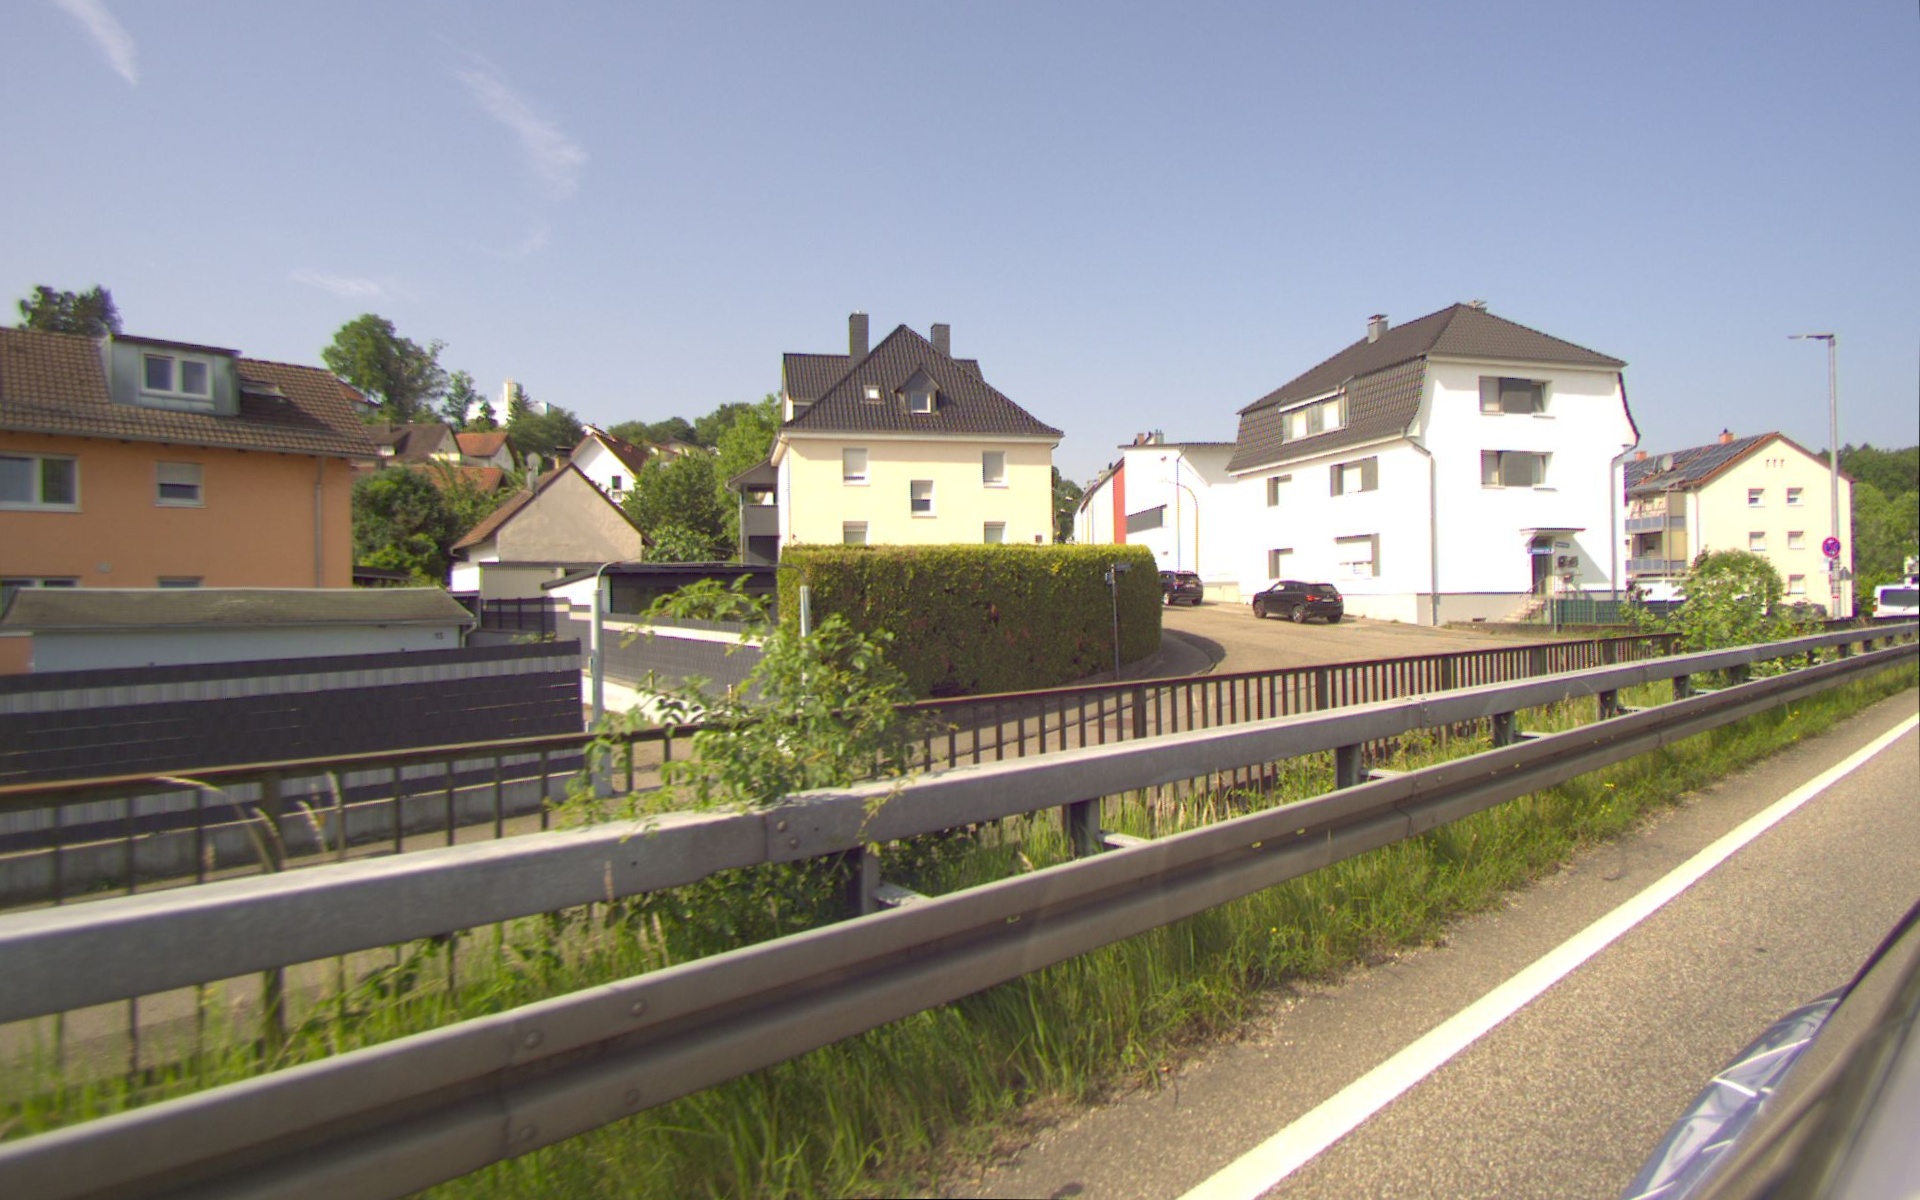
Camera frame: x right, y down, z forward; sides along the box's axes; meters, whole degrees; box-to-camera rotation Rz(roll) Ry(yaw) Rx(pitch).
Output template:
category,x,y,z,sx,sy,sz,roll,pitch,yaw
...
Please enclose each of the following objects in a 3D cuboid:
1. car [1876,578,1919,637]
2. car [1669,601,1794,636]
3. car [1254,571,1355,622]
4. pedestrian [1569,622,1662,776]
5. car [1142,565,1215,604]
category,x,y,z,sx,sy,sz,roll,pitch,yaw
car,34.382,0.269,35.638,5.258,1.969,2.000,1,0,-35
car,35.372,0.823,46.569,1.719,1.365,4.619,2,1,-8
car,13.397,-0.175,39.612,1.959,1.683,4.010,-3,4,-12
pedestrian,9.187,1.342,14.187,0.978,2.039,0.790,1,0,-36
car,10.554,-0.782,49.186,1.958,1.684,4.010,0,3,-12
